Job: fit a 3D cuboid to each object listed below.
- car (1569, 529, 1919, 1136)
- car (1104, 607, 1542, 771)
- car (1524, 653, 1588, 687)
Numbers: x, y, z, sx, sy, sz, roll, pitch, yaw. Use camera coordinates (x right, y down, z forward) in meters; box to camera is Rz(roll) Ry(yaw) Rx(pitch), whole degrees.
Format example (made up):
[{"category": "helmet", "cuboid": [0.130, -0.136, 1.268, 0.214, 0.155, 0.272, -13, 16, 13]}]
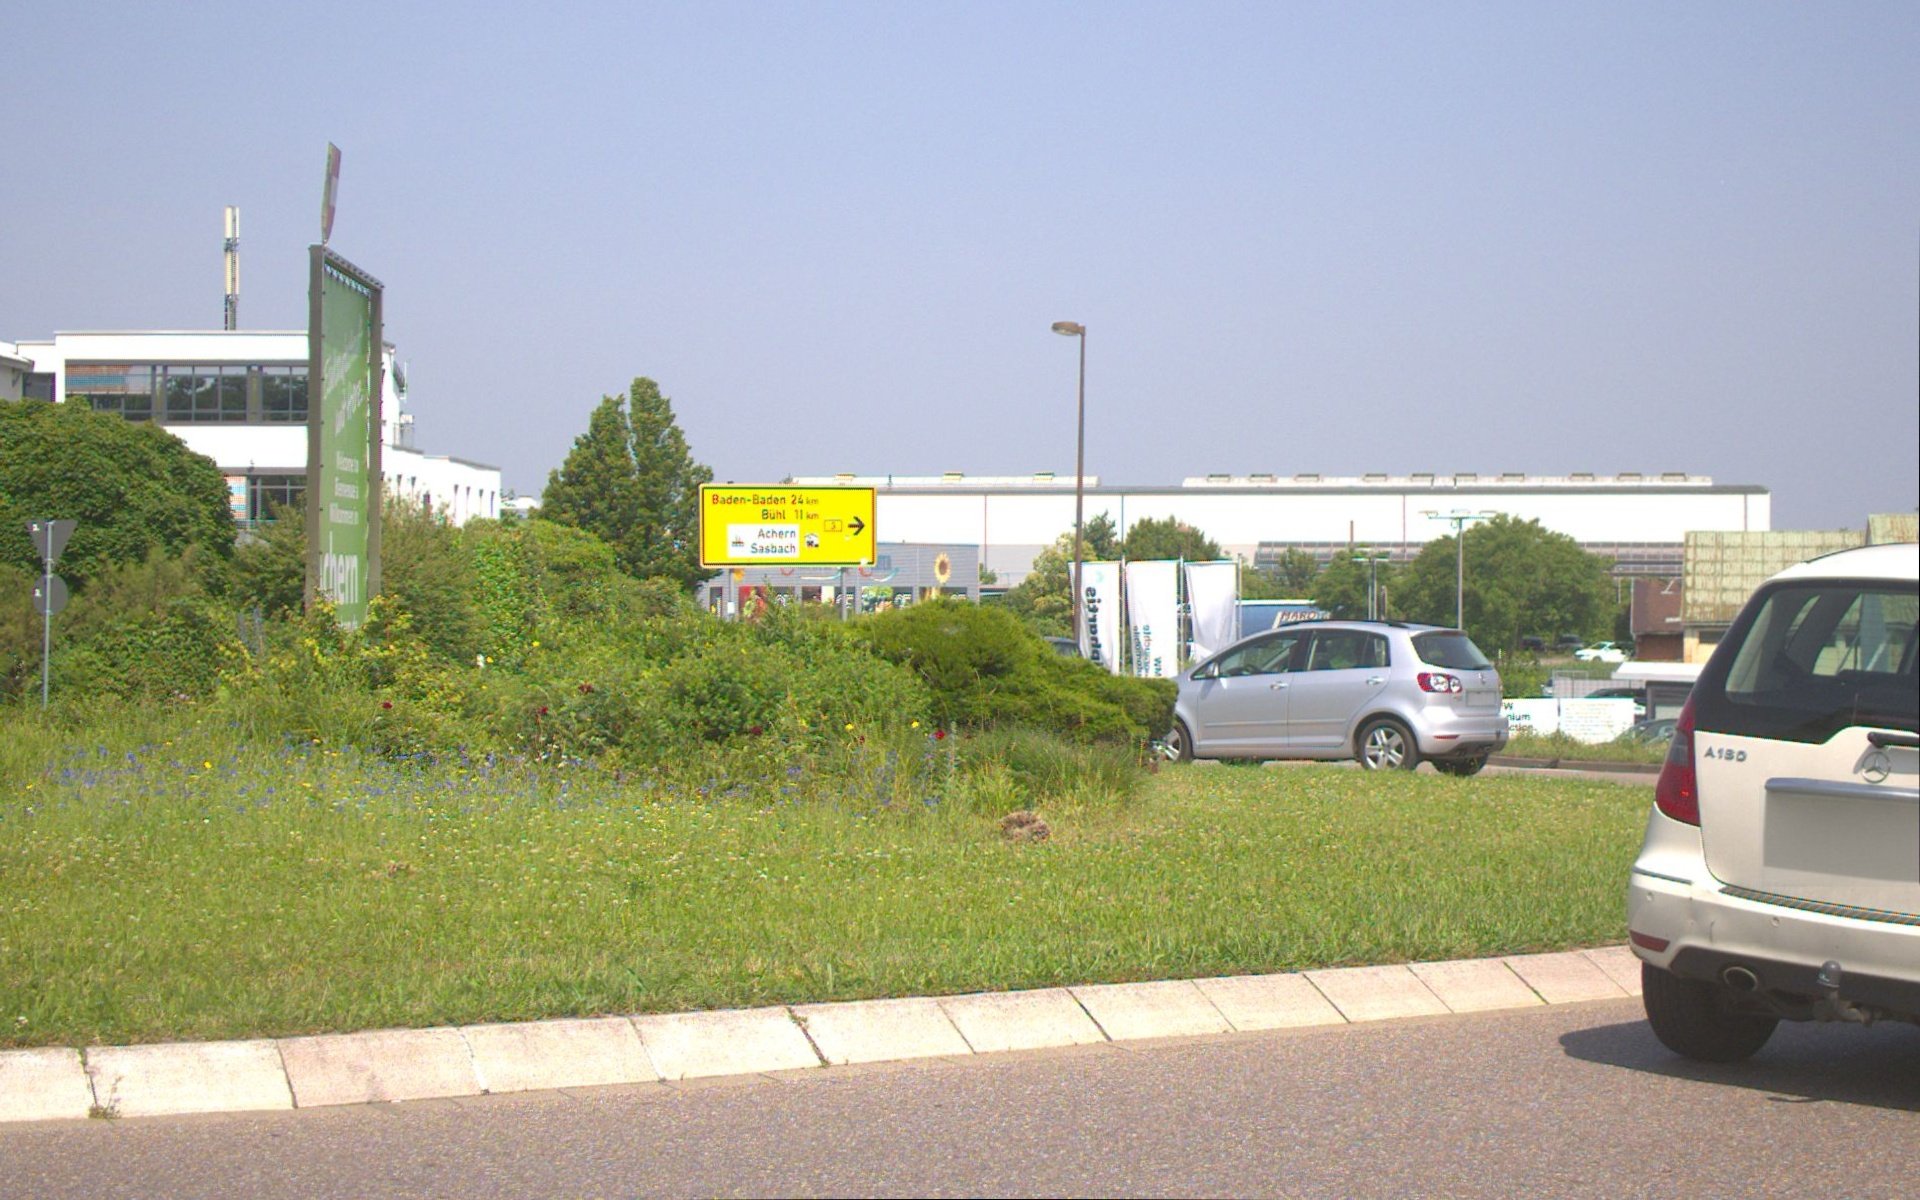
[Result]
[{"category": "car", "cuboid": [3.796, 0.633, 10.665, 3.882, 1.598, 1.786, 1, 1, -44]}, {"category": "car", "cuboid": [3.718, 0.907, 35.251, 4.078, 1.525, 1.782, 1, -2, 26]}, {"category": "car", "cuboid": [26.653, 3.131, 153.732, 1.996, 1.393, 3.995, 1, -2, 22]}]
